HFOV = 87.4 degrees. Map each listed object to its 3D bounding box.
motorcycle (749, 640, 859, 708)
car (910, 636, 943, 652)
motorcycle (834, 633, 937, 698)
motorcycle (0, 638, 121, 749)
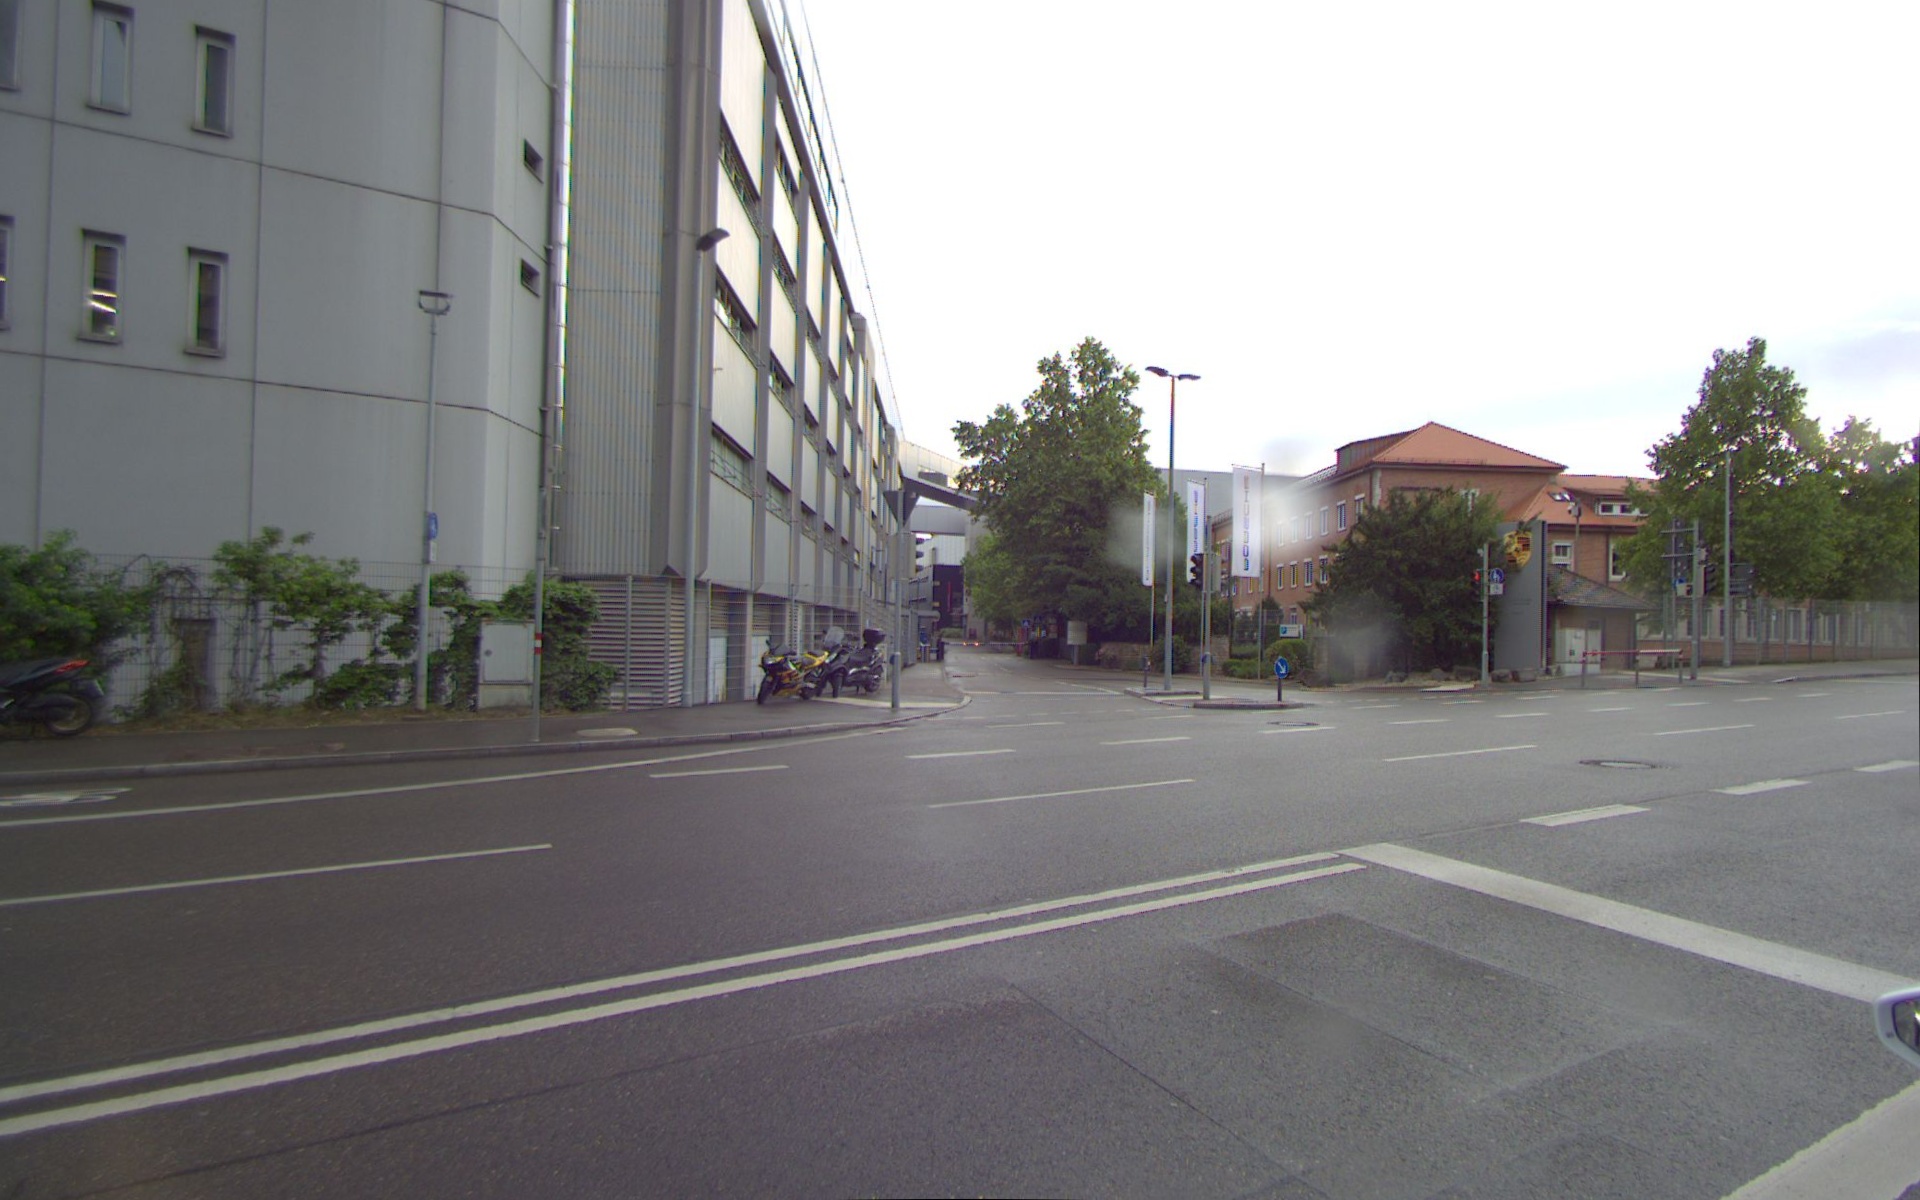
[{"bbox_3d":[-3.066,1.432,20.094,0.759,1.234,2.504,0,-2,30],"label":"motorcycle"},{"bbox_3d":[-4.382,5.771,131.061,3.914,1.849,1.955,2,0,-31],"label":"car"},{"bbox_3d":[-1.613,1.433,22.532,1.008,1.355,2.772,-1,-2,27],"label":"motorcycle"},{"bbox_3d":[-11.350,1.080,11.818,2.133,1.263,0.780,2,-2,-32],"label":"motorcycle"}]
